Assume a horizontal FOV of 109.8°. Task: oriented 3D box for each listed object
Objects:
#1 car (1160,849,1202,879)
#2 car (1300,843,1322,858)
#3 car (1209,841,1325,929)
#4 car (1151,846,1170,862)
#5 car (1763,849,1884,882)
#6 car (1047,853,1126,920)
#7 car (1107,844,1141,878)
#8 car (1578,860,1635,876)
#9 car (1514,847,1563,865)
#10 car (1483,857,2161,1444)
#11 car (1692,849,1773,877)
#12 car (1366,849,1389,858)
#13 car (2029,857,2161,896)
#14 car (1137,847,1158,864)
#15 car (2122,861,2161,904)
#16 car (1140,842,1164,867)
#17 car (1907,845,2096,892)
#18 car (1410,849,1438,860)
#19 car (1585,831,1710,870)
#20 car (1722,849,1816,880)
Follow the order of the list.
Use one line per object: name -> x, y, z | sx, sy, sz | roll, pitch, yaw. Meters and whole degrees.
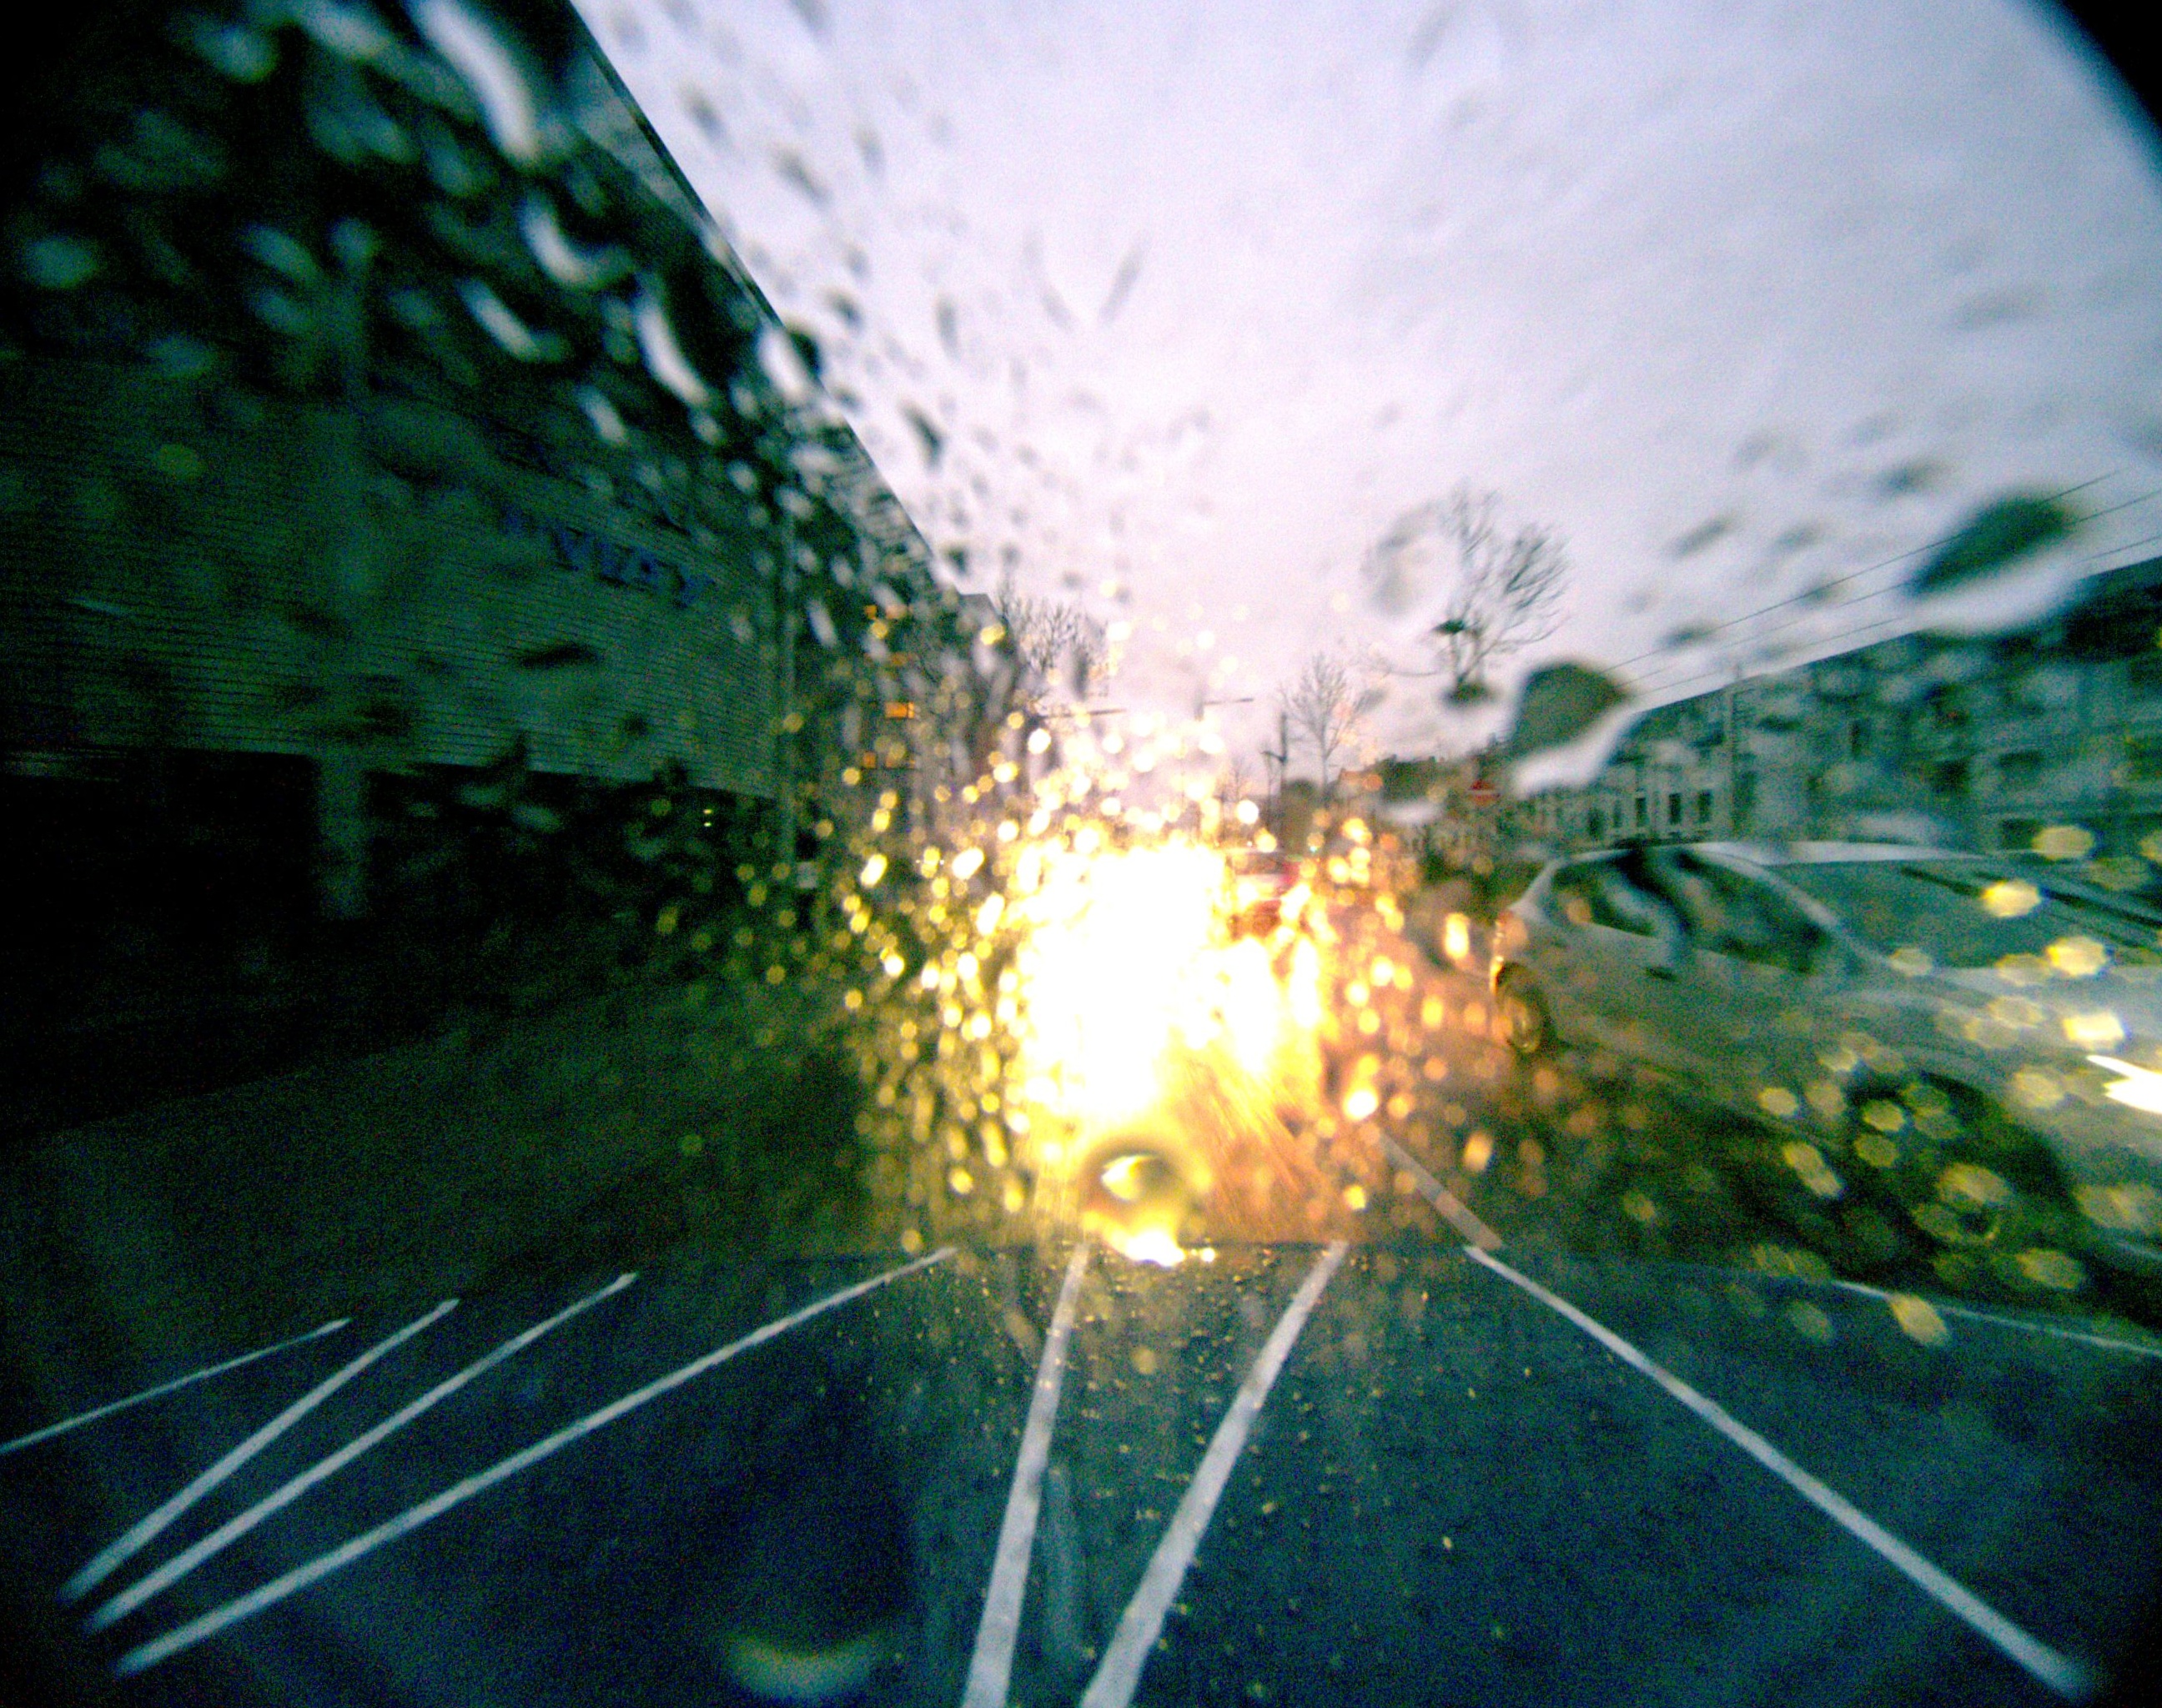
car -> 5.538, 0.537, 42.554 | 1.975, 1.492, 4.092 | -2, 0, 3
car -> 32.290, -0.503, 106.743 | 1.998, 2.002, 3.999 | -2, 1, 1
car -> 3.980, 0.576, 16.916 | 2.020, 1.667, 4.001 | -2, 1, 7
car -> 8.517, -0.032, 81.721 | 1.728, 1.646, 3.644 | -2, 1, 3
car -> 32.233, 0.494, 33.109 | 3.599, 1.376, 1.316 | -1, 0, 35
car -> 0.231, 0.753, 19.438 | 1.756, 1.418, 3.804 | -1, 1, 4
car -> 2.274, 0.373, 40.284 | 1.654, 1.673, 3.685 | -2, 0, 2
car -> 35.373, 0.930, 51.208 | 3.100, 1.000, 1.189 | -1, 0, 38
car -> 35.307, 0.174, 58.646 | 3.197, 1.309, 1.554 | -1, 1, 34
car -> 3.793, 0.811, 3.609 | 1.712, 1.457, 3.999 | -2, 1, 1
car -> 33.440, 0.481, 39.087 | 3.100, 1.376, 1.316 | -1, 0, 38
car -> 37.988, -0.076, 97.295 | 2.565, 0.981, 1.257 | -1, 1, 33
car -> 31.715, 0.667, 23.159 | 3.305, 1.125, 1.316 | 0, 0, 38
car -> 5.665, 0.130, 64.976 | 1.595, 1.428, 3.805 | -2, 0, 3
car -> 31.278, 0.780, 19.989 | 4.393, 1.125, 1.250 | 0, 2, 37
car -> 5.359, -0.007, 57.683 | 1.729, 1.730, 4.055 | -2, 1, 5
car -> 31.841, 0.490, 26.474 | 4.001, 1.496, 1.316 | -1, 2, 39
car -> 37.961, 0.051, 84.139 | 2.626, 1.100, 1.255 | -2, 1, 6
car -> 33.979, -0.195, 45.752 | 5.893, 2.242, 1.825 | -1, 2, 37
car -> 32.750, 0.503, 36.259 | 3.198, 1.376, 1.316 | -1, 0, 35
